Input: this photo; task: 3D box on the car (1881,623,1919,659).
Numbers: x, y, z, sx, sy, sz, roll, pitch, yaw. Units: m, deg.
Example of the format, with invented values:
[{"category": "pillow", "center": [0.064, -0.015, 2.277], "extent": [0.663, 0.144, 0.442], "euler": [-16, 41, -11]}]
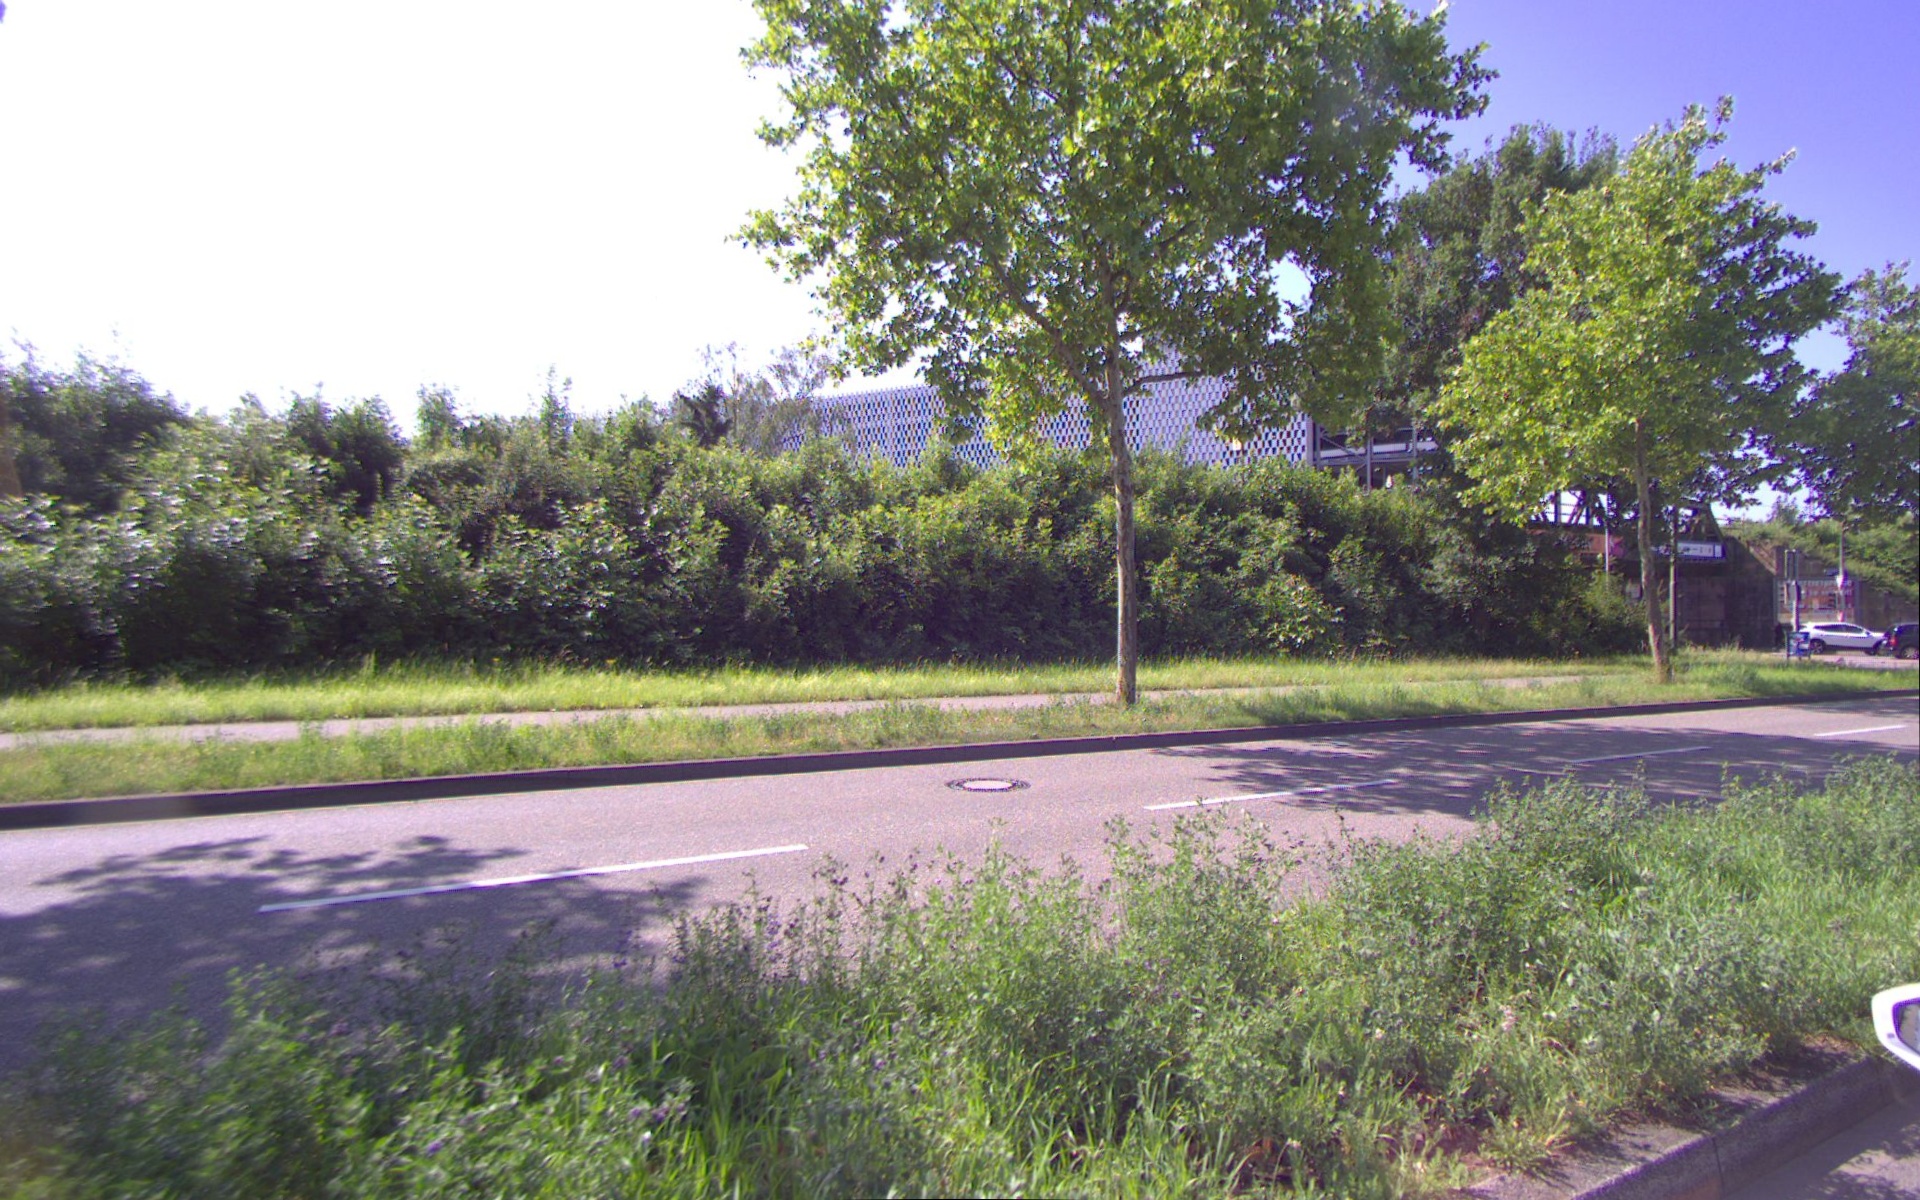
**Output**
[{"category": "car", "center": [43.970, 1.865, 44.898], "extent": [3.937, 1.595, 1.931], "euler": [1, 0, 38]}]

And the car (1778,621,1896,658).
[{"category": "car", "center": [43.759, 1.929, 50.245], "extent": [4.038, 1.648, 1.998], "euler": [1, 0, 26]}]
